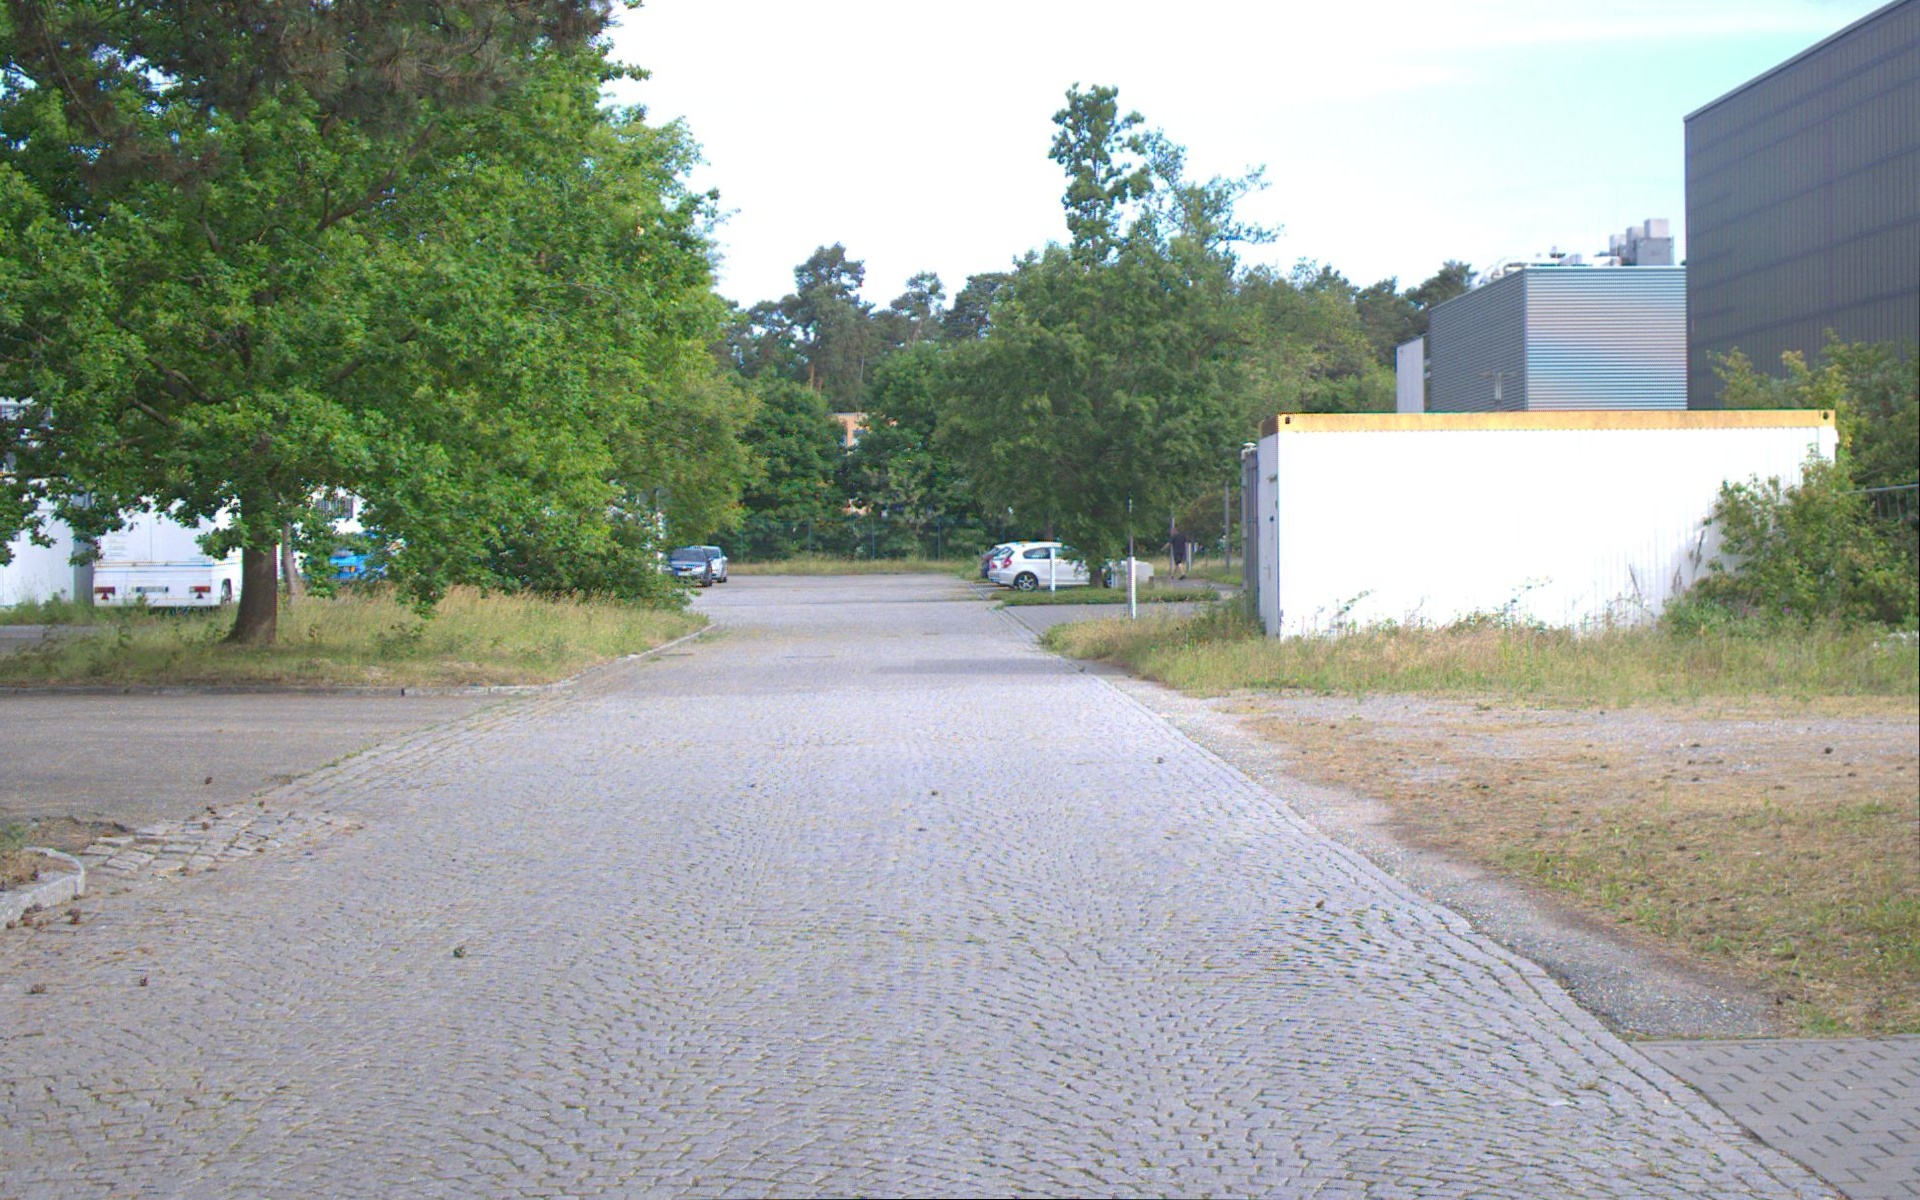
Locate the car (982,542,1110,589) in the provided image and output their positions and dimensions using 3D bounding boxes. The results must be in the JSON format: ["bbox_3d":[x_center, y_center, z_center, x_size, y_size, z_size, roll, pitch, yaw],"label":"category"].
[{"bbox_3d":[2.714,-1.099,109.321,3.987,1.450,1.770,-1,1,0],"label":"car"}]

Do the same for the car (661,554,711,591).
[{"bbox_3d":[-10.181,-1.035,127.937,1.748,1.359,4.001,-1,1,-3],"label":"car"}]

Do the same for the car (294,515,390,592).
[{"bbox_3d":[-20.845,-1.573,116.212,1.994,2.515,5.617,-1,1,2],"label":"car"}]

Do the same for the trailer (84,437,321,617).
[{"bbox_3d":[-16.668,-1.589,76.494,2.657,3.693,10.721,-1,1,1],"label":"trailer"}]

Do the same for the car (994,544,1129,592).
[{"bbox_3d":[3.058,-0.964,104.116,3.987,1.450,2.000,0,0,-1],"label":"car"}]

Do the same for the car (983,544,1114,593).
[{"bbox_3d":[2.719,-0.987,106.281,3.987,1.450,1.697,-1,1,0],"label":"car"}]
